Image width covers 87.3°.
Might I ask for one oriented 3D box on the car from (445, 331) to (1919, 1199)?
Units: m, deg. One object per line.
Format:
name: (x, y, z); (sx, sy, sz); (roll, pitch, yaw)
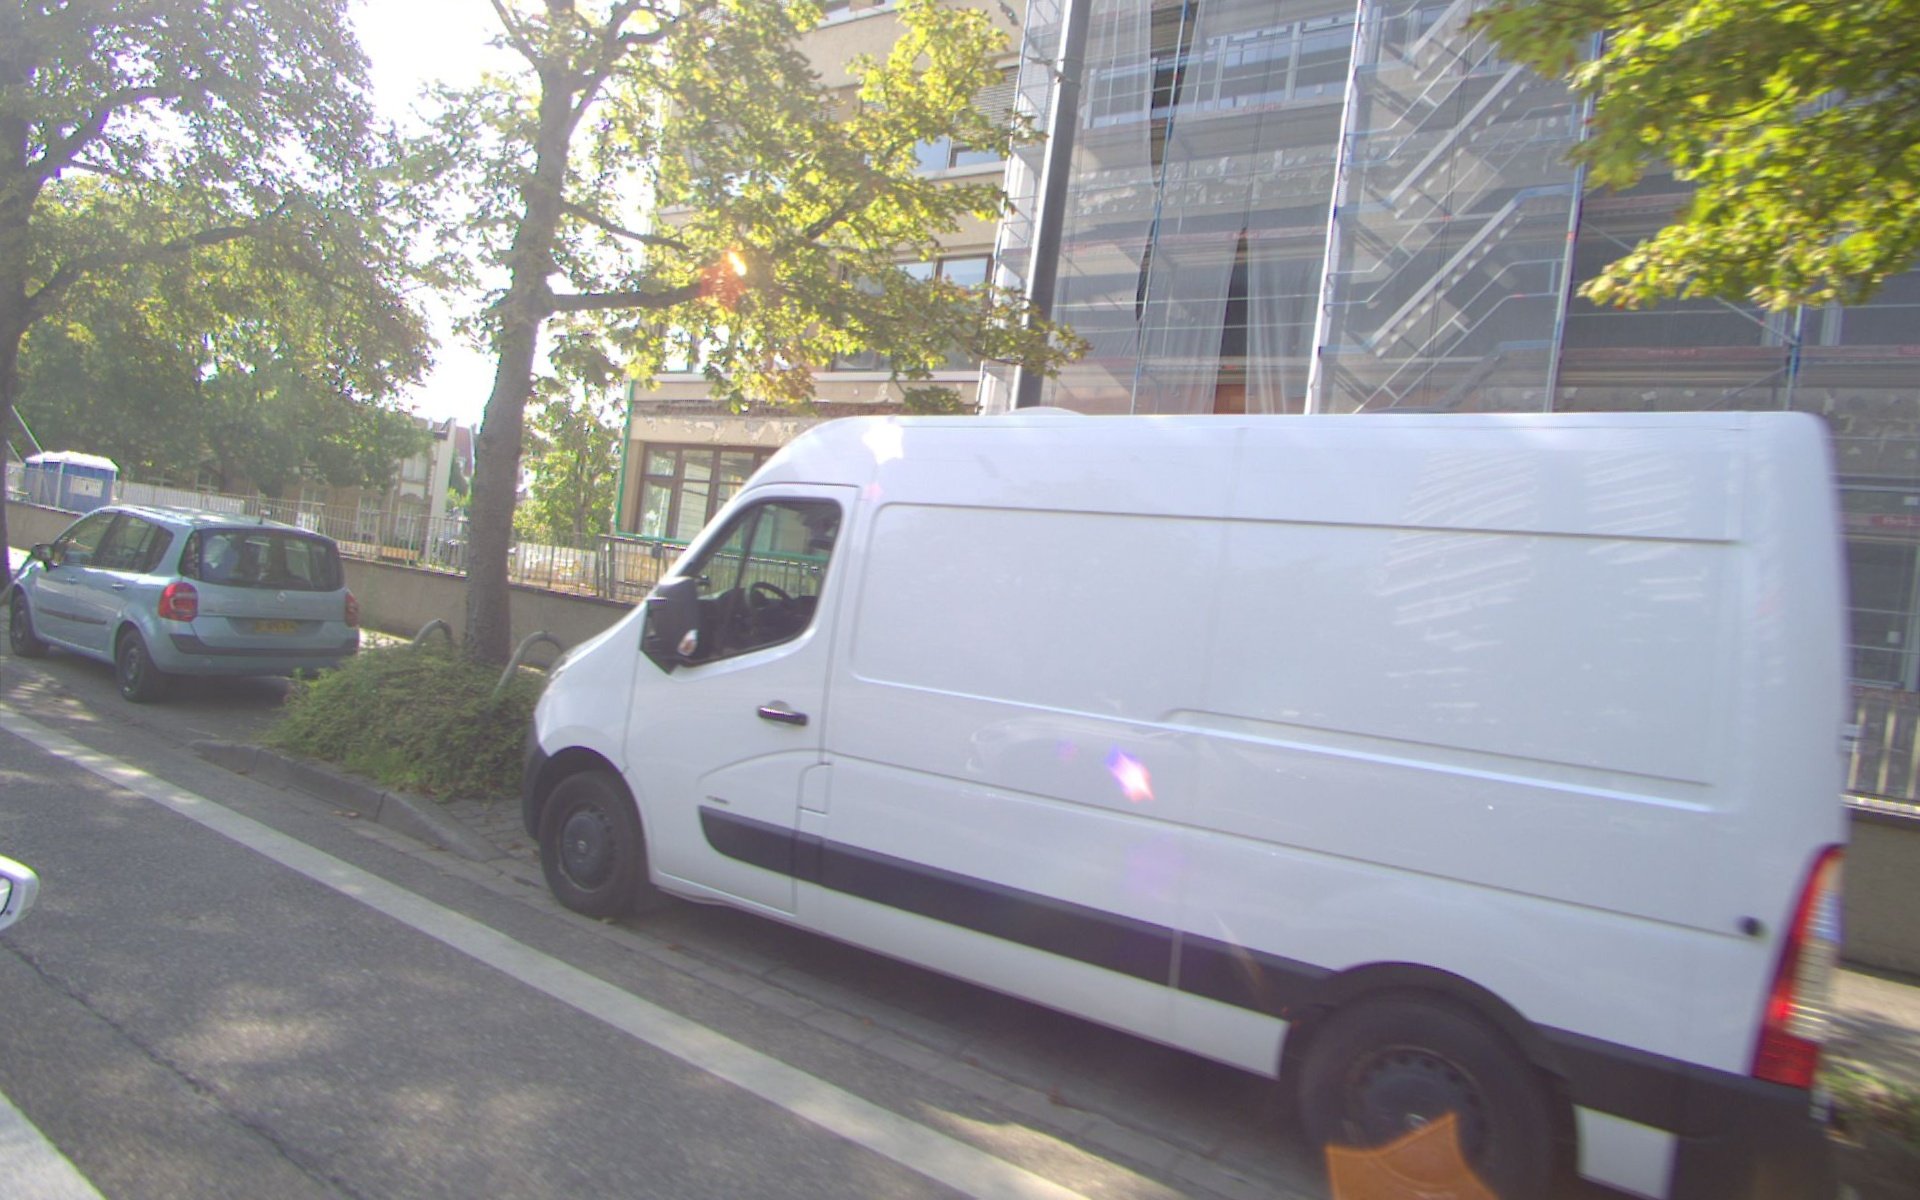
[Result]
car: (0.328, 0.387, 4.643); (5.407, 2.587, 2.083); (7, 3, 30)

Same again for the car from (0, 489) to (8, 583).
car: (-15.576, -1.119, 14.297); (4.640, 1.395, 1.755); (7, 1, 31)

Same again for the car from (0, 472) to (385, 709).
car: (-7.366, -0.144, 9.456); (3.812, 1.637, 1.666); (8, 1, 31)
